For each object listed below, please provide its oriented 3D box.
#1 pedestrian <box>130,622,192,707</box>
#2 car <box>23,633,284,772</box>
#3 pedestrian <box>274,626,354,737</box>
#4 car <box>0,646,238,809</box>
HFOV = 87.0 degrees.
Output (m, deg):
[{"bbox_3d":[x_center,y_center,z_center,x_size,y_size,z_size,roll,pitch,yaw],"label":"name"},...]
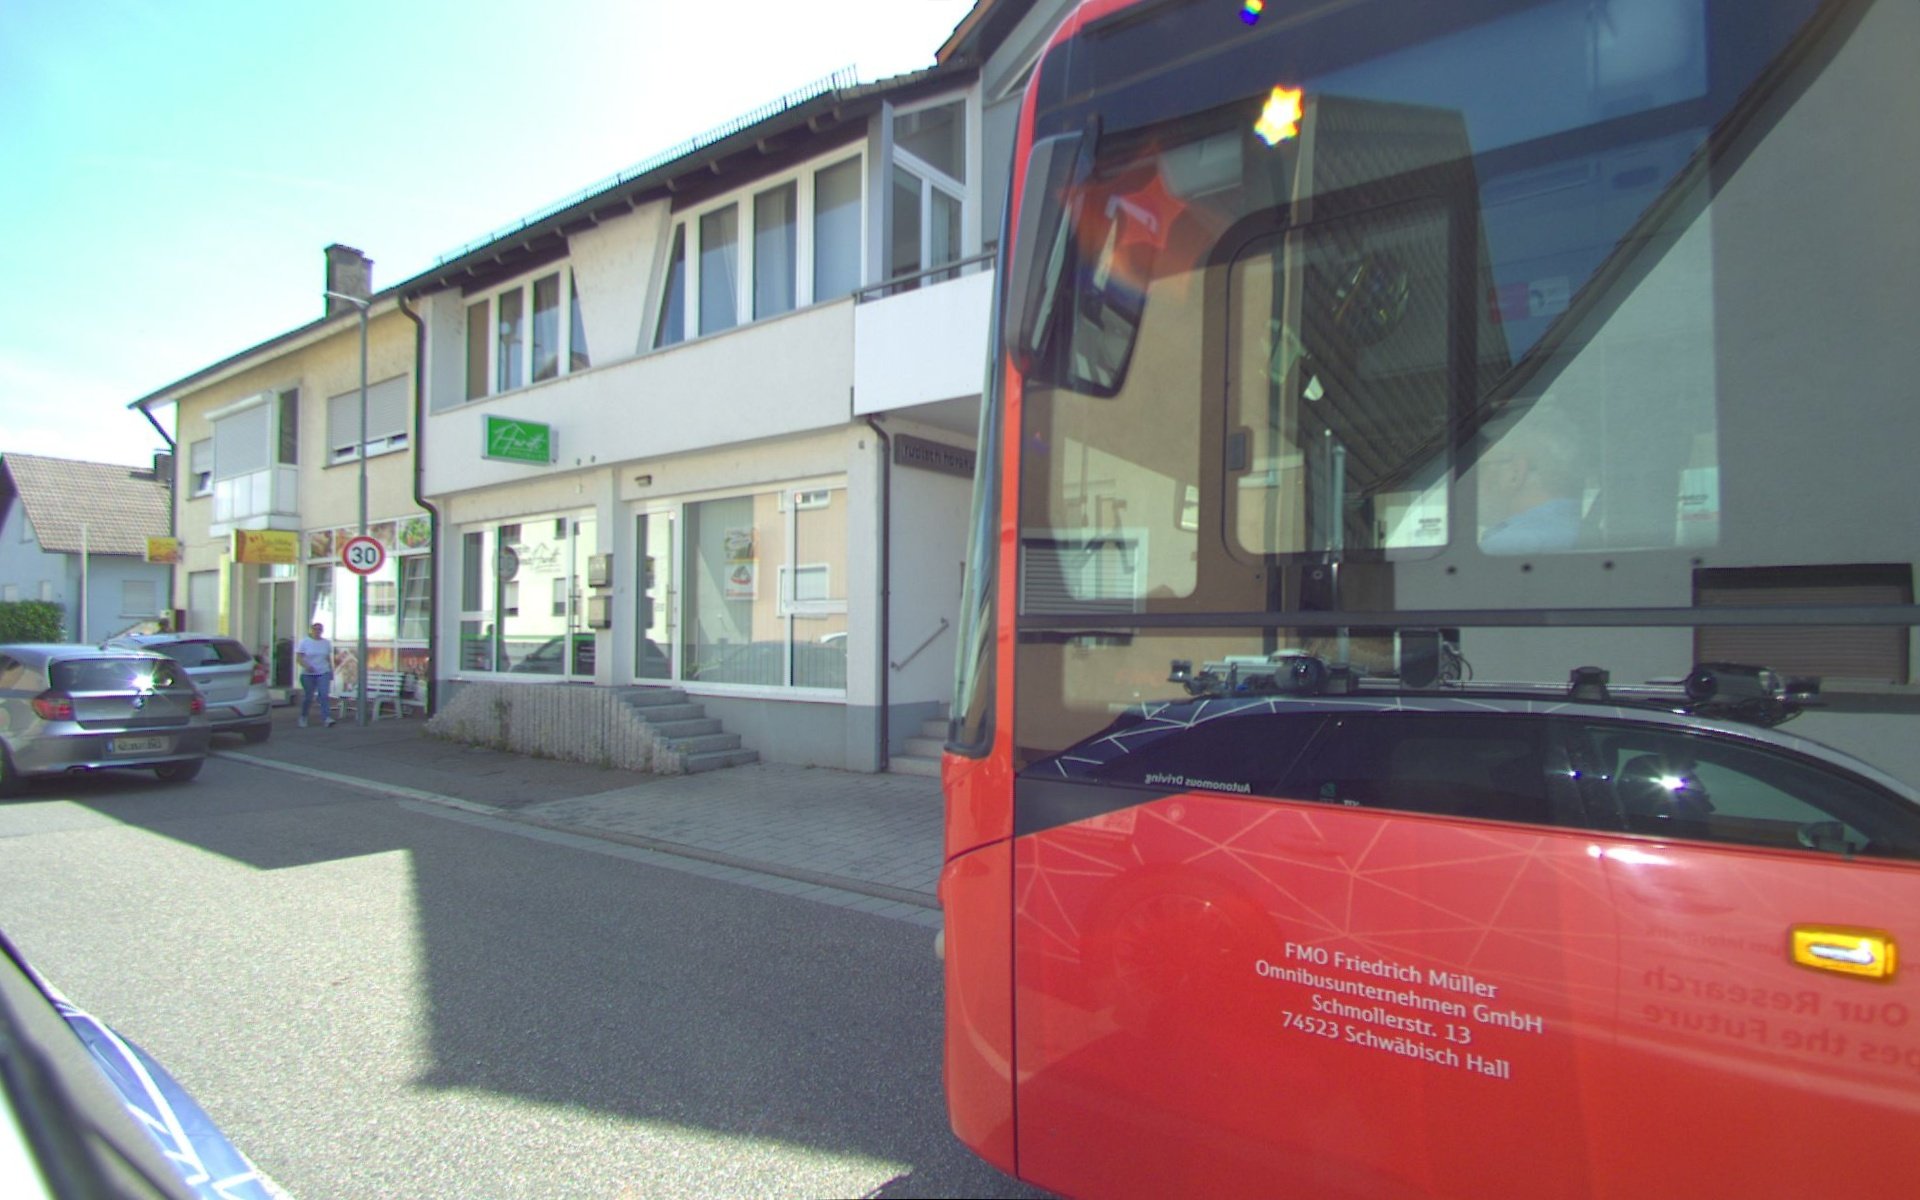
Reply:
[{"bbox_3d":[-15.656,1.245,19.823,0.955,1.595,0.748,-1,0,38],"label":"pedestrian"},{"bbox_3d":[-11.124,1.281,13.886,3.991,1.527,1.729,-1,1,35],"label":"car"},{"bbox_3d":[-9.828,1.210,15.394,0.955,1.595,0.748,-1,0,38],"label":"pedestrian"},{"bbox_3d":[-9.539,1.191,10.450,3.849,1.408,1.750,-1,-4,26],"label":"car"}]
